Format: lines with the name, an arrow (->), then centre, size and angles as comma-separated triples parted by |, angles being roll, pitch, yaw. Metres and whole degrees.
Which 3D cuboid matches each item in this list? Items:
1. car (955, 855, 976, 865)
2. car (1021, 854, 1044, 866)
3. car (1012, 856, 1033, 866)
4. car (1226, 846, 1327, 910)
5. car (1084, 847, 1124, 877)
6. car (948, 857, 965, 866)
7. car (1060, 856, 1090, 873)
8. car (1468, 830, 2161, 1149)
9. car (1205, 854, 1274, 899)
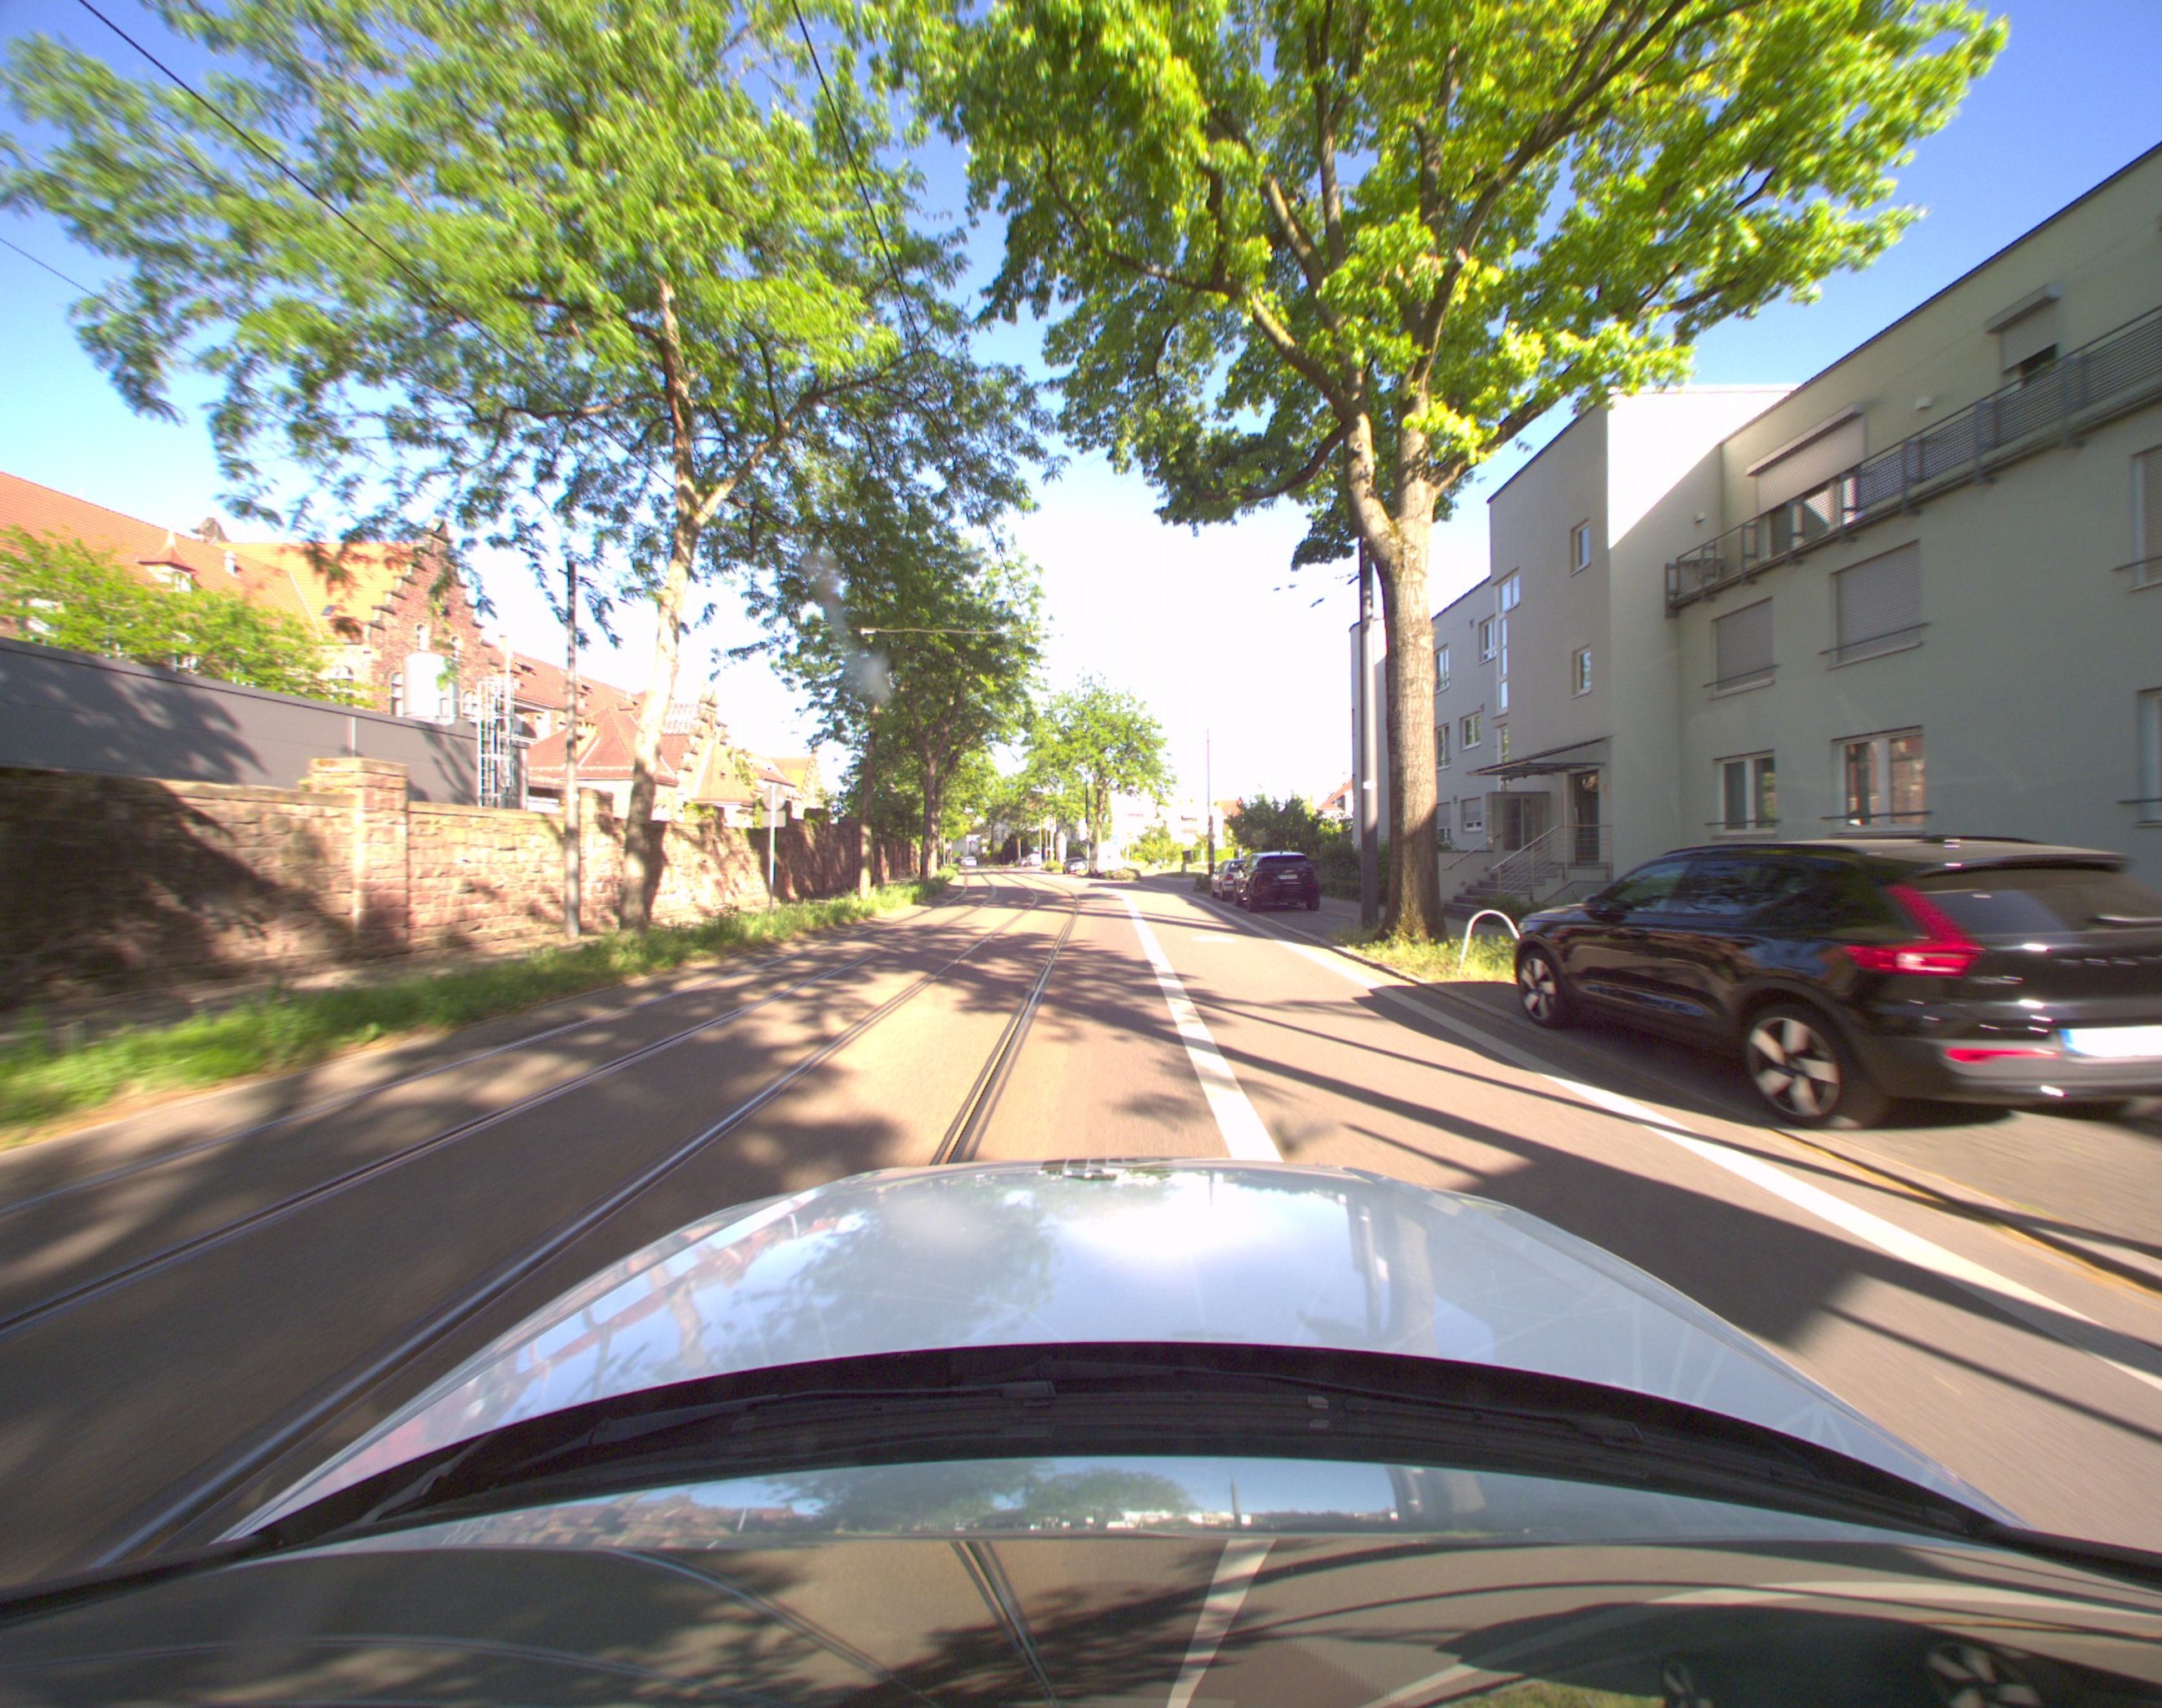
car -> -20.190, 1.080, 142.011 | 1.906, 1.611, 4.184 | 0, -3, -34
car -> -7.652, 0.893, 127.572 | 2.031, 1.747, 4.714 | -1, 0, -23
car -> -9.571, 1.153, 133.220 | 2.003, 1.423, 4.297 | -1, -1, -24
car -> 5.545, 0.653, 23.707 | 1.986, 1.616, 4.603 | -2, -1, 2
car -> 1.655, 0.566, 59.697 | 1.994, 2.095, 4.700 | -1, 0, -10
car -> -24.976, 1.504, 163.134 | 1.815, 1.694, 4.686 | -4, 1, -27
car -> -0.641, 0.988, 77.829 | 2.001, 1.465, 5.415 | -4, 0, -9
car -> 5.018, 0.664, 6.250 | 1.870, 1.518, 4.647 | 0, 0, 0
car -> 5.632, 0.767, 29.456 | 1.732, 1.495, 4.531 | 0, 0, 1
